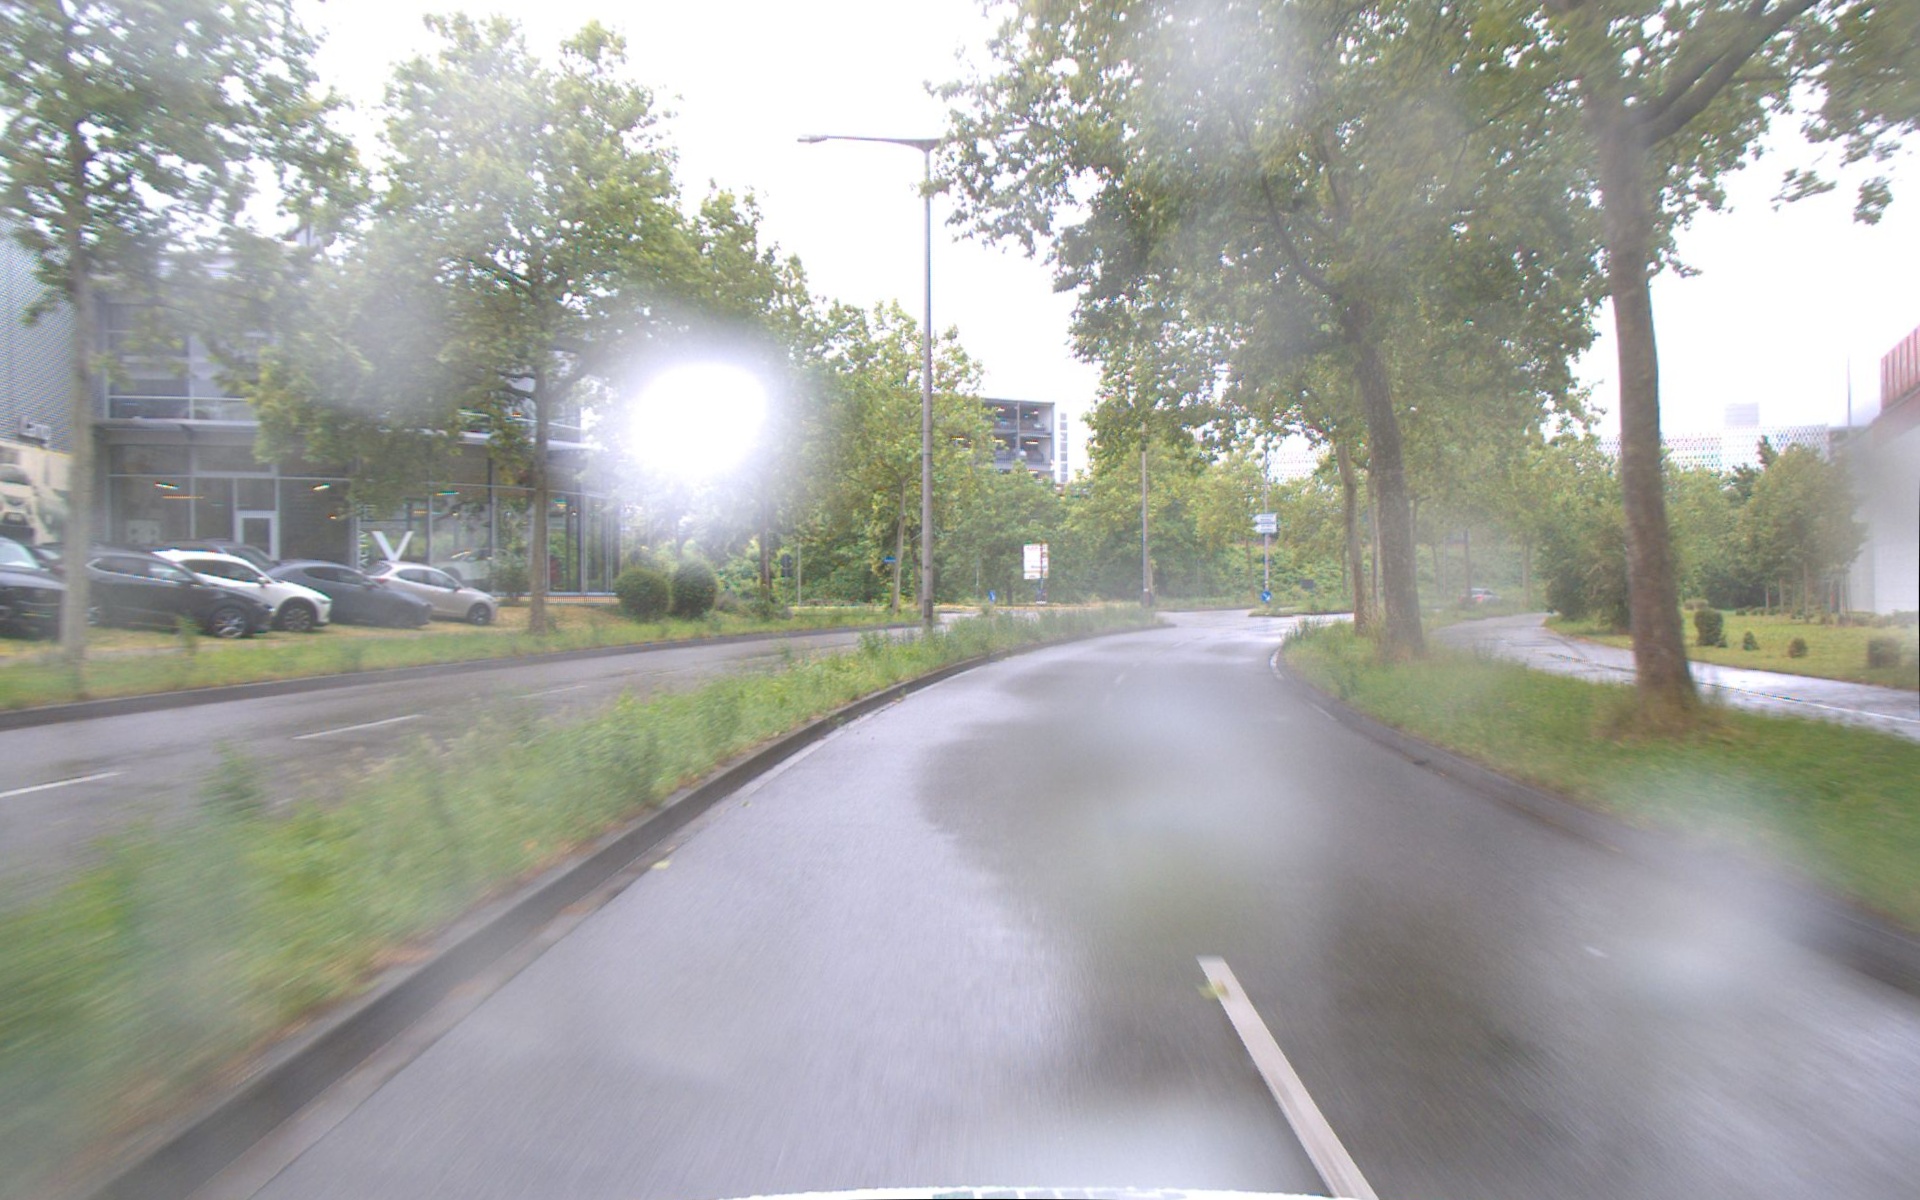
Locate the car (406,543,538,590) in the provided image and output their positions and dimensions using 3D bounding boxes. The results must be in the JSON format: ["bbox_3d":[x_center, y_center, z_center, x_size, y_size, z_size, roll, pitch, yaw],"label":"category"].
[{"bbox_3d":[-16.556,-1.119,56.303,1.750,1.502,4.094,1,0,37],"label":"car"}]

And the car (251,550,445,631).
[{"bbox_3d":[-15.136,-0.226,40.982,4.082,1.446,1.827,7,2,-35],"label":"car"}]

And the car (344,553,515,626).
[{"bbox_3d":[-14.478,-0.278,45.244,3.968,1.500,1.758,6,2,-44],"label":"car"}]

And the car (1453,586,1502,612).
[{"bbox_3d":[33.807,-0.062,107.924,1.751,1.582,3.982,2,2,38],"label":"car"}]

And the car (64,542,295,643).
[{"bbox_3d":[-16.075,-0.149,34.099,4.075,1.503,1.830,7,2,-31],"label":"car"}]

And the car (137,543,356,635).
[{"bbox_3d":[-15.944,-0.232,37.047,4.088,1.503,1.824,6,2,-39],"label":"car"}]

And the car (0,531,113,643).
[{"bbox_3d":[-17.623,-0.330,30.296,4.351,1.582,1.841,9,2,35],"label":"car"}]

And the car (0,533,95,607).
[{"bbox_3d":[-20.707,-0.626,34.446,4.332,1.499,1.919,1,0,-2],"label":"car"}]
